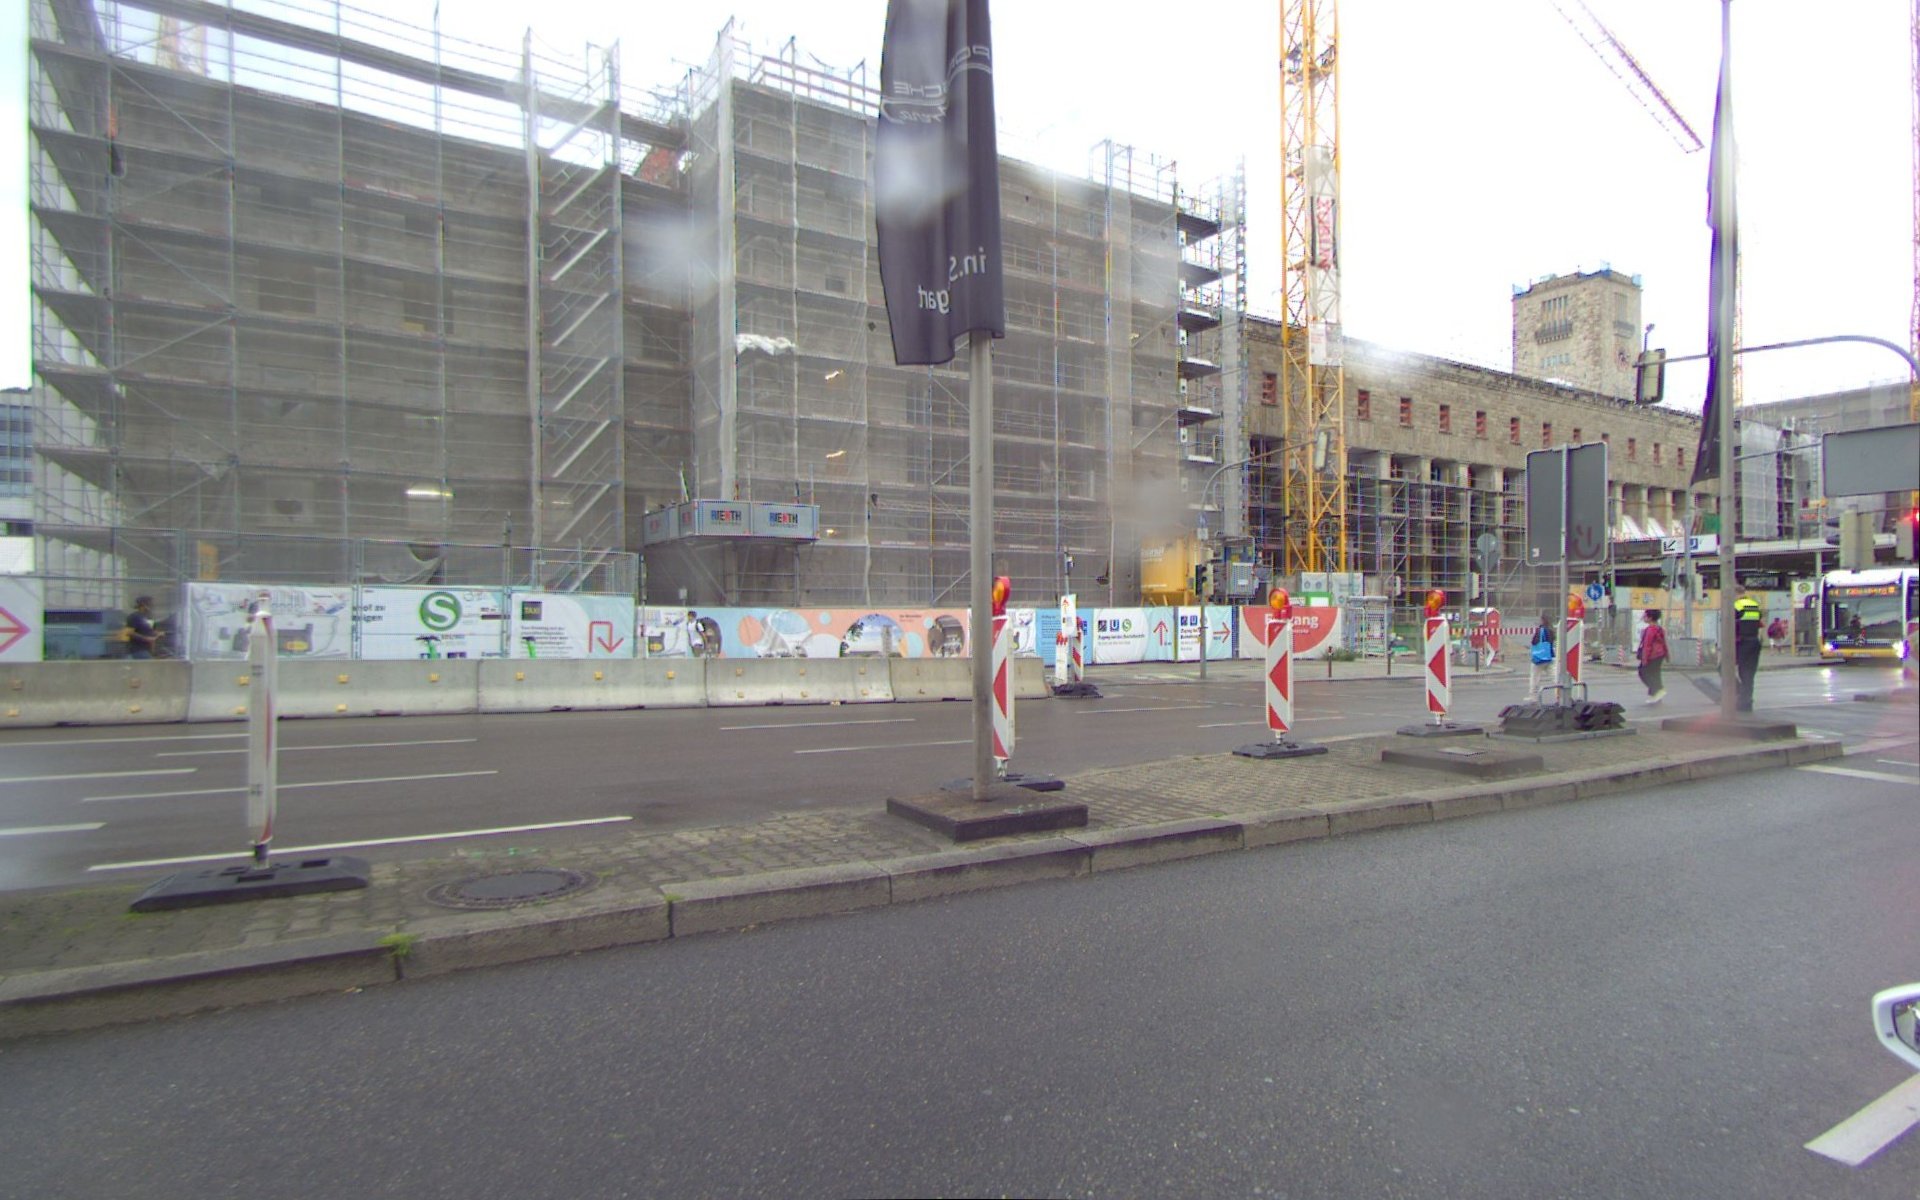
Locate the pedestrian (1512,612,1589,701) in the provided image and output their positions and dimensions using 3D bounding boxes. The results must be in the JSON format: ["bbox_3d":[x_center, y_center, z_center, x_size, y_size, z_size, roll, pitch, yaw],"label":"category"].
[{"bbox_3d":[10.995,1.030,18.718,0.890,1.584,0.909,1,0,-33],"label":"pedestrian"}]

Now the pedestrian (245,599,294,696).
[{"bbox_3d":[-13.467,0.922,19.605,0.709,1.860,0.478,1,0,-30],"label":"pedestrian"}]

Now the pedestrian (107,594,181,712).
[{"bbox_3d":[-13.243,0.845,16.316,0.810,1.860,0.575,1,0,-30],"label":"pedestrian"}]

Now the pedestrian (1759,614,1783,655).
[{"bbox_3d":[37.629,1.595,46.613,0.789,1.879,0.658,1,-1,-30],"label":"pedestrian"}]

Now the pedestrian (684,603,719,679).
[{"bbox_3d":[-6.474,1.015,25.118,0.709,1.860,0.478,1,0,-30],"label":"pedestrian"}]

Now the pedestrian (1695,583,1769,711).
[{"bbox_3d":[11.519,0.684,14.986,0.810,1.860,0.575,1,0,-30],"label":"pedestrian"}]

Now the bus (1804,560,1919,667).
[{"bbox_3d":[35.609,0.568,37.757,10.119,3.650,2.655,2,0,-30],"label":"bus"}]

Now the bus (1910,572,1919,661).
[{"bbox_3d":[44.267,0.815,42.888,10.092,3.650,2.655,2,0,-30],"label":"bus"}]

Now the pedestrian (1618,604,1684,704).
[{"bbox_3d":[12.395,0.967,18.023,0.613,1.740,0.794,1,-2,-33],"label":"pedestrian"}]

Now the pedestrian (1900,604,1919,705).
[{"bbox_3d":[15.479,0.864,15.807,0.861,1.581,0.784,2,0,35],"label":"pedestrian"}]
